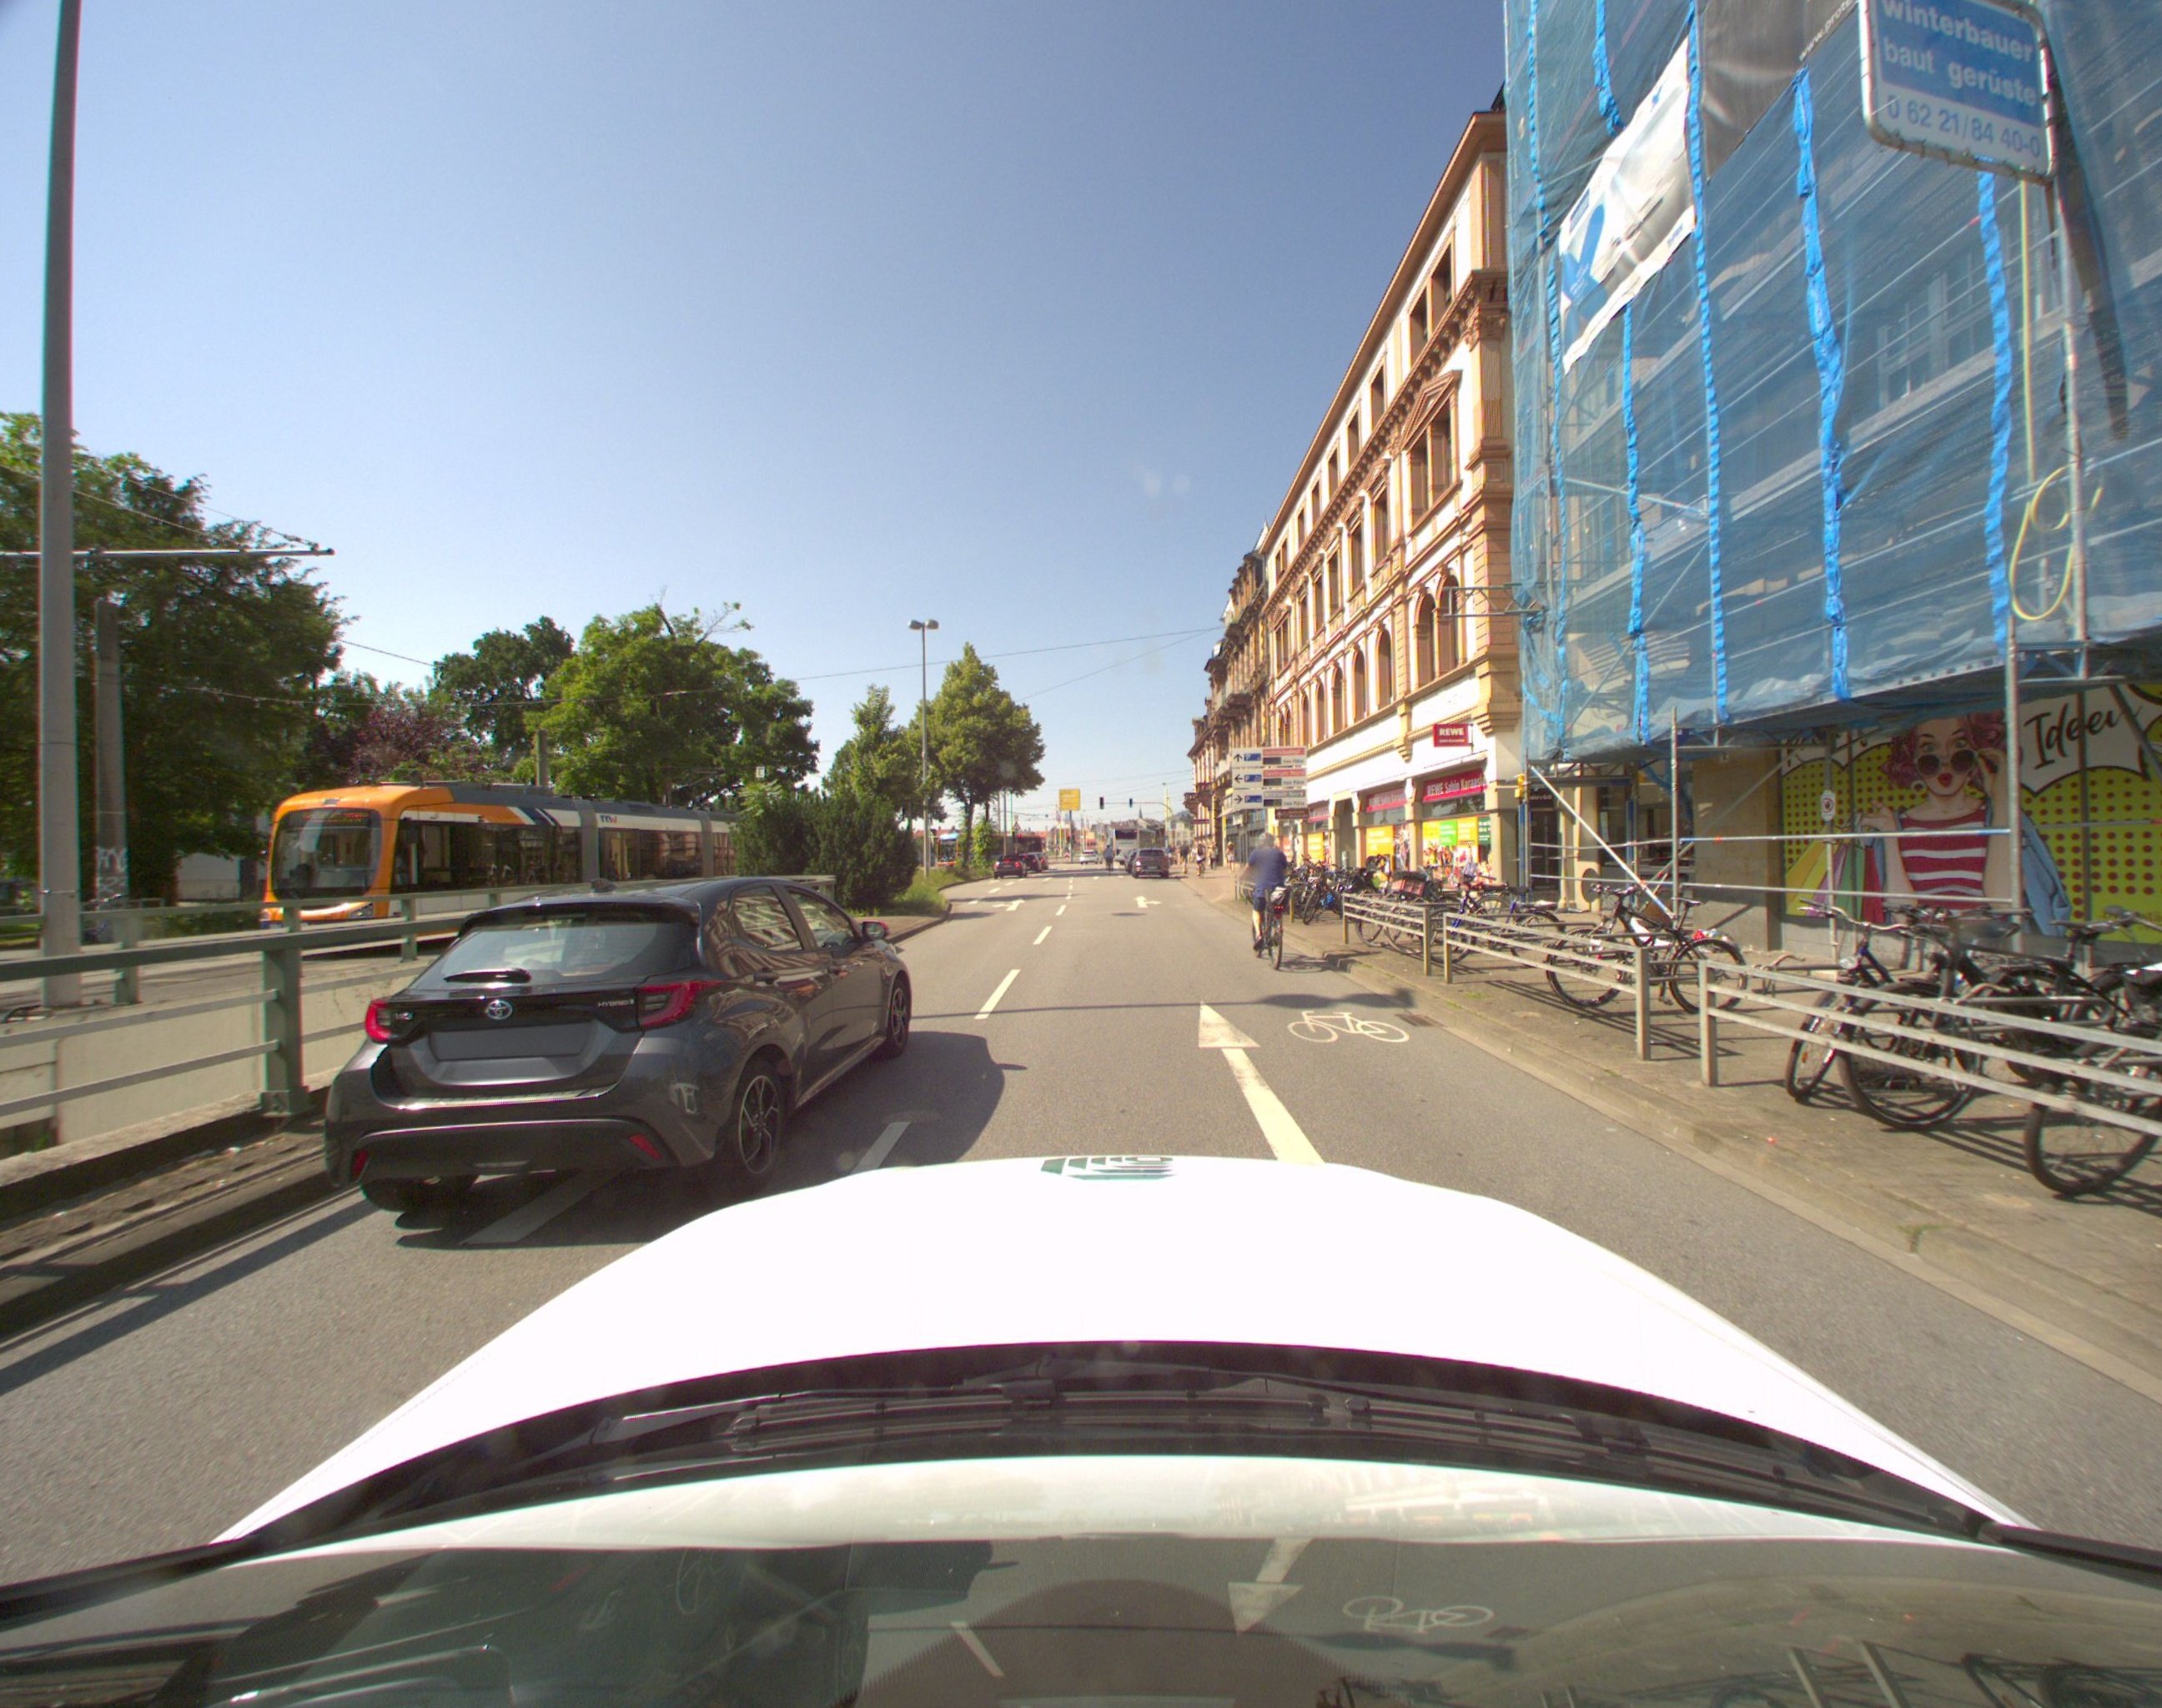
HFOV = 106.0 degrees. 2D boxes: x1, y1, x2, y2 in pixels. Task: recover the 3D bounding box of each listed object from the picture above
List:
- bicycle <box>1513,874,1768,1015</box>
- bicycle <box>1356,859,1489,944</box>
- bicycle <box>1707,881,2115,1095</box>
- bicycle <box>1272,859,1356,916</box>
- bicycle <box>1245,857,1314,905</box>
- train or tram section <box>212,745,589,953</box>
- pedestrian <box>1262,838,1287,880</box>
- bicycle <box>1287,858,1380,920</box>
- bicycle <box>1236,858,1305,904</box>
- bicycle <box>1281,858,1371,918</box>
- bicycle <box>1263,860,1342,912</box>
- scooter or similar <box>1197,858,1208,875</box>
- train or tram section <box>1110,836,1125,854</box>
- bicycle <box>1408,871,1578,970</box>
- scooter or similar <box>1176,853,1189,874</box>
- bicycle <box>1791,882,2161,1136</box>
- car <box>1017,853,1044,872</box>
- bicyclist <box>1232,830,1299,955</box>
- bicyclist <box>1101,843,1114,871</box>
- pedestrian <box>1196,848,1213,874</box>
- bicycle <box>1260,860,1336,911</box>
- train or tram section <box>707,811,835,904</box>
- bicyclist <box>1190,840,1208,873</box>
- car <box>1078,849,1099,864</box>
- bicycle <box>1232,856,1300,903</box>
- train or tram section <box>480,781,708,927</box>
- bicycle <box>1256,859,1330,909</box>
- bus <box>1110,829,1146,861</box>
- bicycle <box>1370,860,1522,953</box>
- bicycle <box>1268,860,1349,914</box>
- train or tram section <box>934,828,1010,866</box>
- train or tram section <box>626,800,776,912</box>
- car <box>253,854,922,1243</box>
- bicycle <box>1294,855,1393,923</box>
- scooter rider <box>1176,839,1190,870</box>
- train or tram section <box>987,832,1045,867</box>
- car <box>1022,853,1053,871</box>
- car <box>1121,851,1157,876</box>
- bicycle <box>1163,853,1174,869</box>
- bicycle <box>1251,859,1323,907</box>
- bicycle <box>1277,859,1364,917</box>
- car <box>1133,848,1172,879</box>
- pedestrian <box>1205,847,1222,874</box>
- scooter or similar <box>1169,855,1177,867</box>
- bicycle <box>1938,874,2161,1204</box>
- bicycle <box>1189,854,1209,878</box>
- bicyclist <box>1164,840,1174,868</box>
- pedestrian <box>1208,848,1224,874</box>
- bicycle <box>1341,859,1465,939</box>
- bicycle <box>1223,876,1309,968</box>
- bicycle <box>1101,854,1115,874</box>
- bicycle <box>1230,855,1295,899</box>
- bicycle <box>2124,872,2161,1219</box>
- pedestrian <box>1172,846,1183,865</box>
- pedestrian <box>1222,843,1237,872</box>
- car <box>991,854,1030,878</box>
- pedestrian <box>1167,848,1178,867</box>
[{"bbox_3d":[4.693,0.739,6.909,1.732,1.109,0.609,1,-1,2],"label":"bicycle"},{"bbox_3d":[4.953,0.680,11.878,1.686,1.179,0.609,1,-1,2],"label":"bicycle"},{"bbox_3d":[4.668,0.723,4.665,1.686,1.097,0.609,1,-1,2],"label":"bicycle"},{"bbox_3d":[5.043,0.719,17.687,1.686,1.179,0.463,1,-1,2],"label":"bicycle"},{"bbox_3d":[5.107,0.687,20.995,1.687,1.179,0.470,1,-1,2],"label":"bicycle"},{"bbox_3d":[-13.784,-0.052,17.349,2.604,3.581,6.105,2,-1,2],"label":"train or tram section"},{"bbox_3d":[8.035,0.220,33.778,0.753,1.656,0.837,-4,-2,1],"label":"pedestrian"},{"bbox_3d":[4.976,0.687,16.108,1.686,1.179,0.498,1,-1,2],"label":"bicycle"},{"bbox_3d":[5.011,0.701,21.595,1.686,1.178,0.609,-1,0,2],"label":"bicycle"},{"bbox_3d":[4.993,0.693,16.660,1.686,1.179,0.491,1,-1,2],"label":"bicycle"},{"bbox_3d":[5.108,0.731,18.800,1.686,1.179,0.514,1,-1,2],"label":"bicycle"},{"bbox_3d":[7.746,0.785,51.880,0.598,1.047,0.799,2,-1,0],"label":"scooter or similar"},{"bbox_3d":[7.861,-1.872,172.676,2.810,3.777,8.235,2,0,4],"label":"train or tram section"},{"bbox_3d":[4.797,0.763,9.548,1.686,1.087,0.609,1,-1,2],"label":"bicycle"},{"bbox_3d":[5.805,0.566,46.593,0.685,1.167,1.466,2,-1,5],"label":"scooter or similar"},{"bbox_3d":[4.625,0.715,3.997,1.686,1.097,0.609,-2,-1,2],"label":"bicycle"},{"bbox_3d":[-3.608,0.610,58.821,1.445,1.301,4.003,2,-1,3],"label":"car"},{"bbox_3d":[2.484,0.504,11.061,0.686,1.616,0.918,2,-1,1],"label":"bicyclist"},{"bbox_3d":[1.561,0.184,47.344,0.686,1.577,1.049,2,-1,0],"label":"bicyclist"},{"bbox_3d":[7.773,0.446,51.301,0.859,1.640,0.875,2,-1,0],"label":"pedestrian"},{"bbox_3d":[5.147,0.735,19.366,1.686,1.179,0.459,1,-1,2],"label":"bicycle"},{"bbox_3d":[-13.191,0.173,35.345,2.603,3.581,6.900,2,-1,2],"label":"train or tram section"},{"bbox_3d":[5.760,0.120,39.775,0.686,1.577,1.050,2,-1,1],"label":"bicyclist"},{"bbox_3d":[0.802,0.280,83.779,1.850,1.507,4.004,2,-1,4],"label":"car"},{"bbox_3d":[5.048,0.694,22.249,1.686,1.178,0.609,-3,0,2],"label":"bicycle"},{"bbox_3d":[-13.593,0.024,23.460,2.603,3.581,6.105,2,-1,2],"label":"train or tram section"},{"bbox_3d":[5.172,0.734,19.930,1.686,1.179,0.460,1,-1,2],"label":"bicycle"},{"bbox_3d":[4.693,-0.812,79.825,2.953,2.776,8.657,2,-1,7],"label":"bus"},{"bbox_3d":[4.870,0.689,10.938,1.764,1.179,0.609,1,-1,2],"label":"bicycle"},{"bbox_3d":[5.081,0.732,18.208,1.686,1.179,0.457,1,-1,2],"label":"bicycle"},{"bbox_3d":[-10.983,-0.596,83.642,2.797,3.581,10.087,1,-1,24],"label":"train or tram section"},{"bbox_3d":[-13.389,0.097,29.215,2.603,3.581,5.359,2,-1,2],"label":"train or tram section"},{"bbox_3d":[-2.328,0.785,5.193,1.771,1.475,4.000,-1,-1,1],"label":"car"},{"bbox_3d":[4.959,0.654,15.470,1.686,1.241,0.609,1,-1,2],"label":"bicycle"},{"bbox_3d":[5.839,0.023,46.641,0.685,1.729,0.779,2,-1,5],"label":"scooter rider"},{"bbox_3d":[-7.232,-0.441,92.005,2.797,3.581,8.271,1,-1,24],"label":"train or tram section"},{"bbox_3d":[-3.501,0.659,66.122,2.029,1.332,4.003,2,-1,3],"label":"car"},{"bbox_3d":[3.695,0.604,52.592,1.987,1.493,3.998,2,-1,-1],"label":"car"},{"bbox_3d":[6.364,0.528,59.044,0.730,1.093,1.900,2,-1,5],"label":"bicycle"},{"bbox_3d":[5.173,0.724,20.461,1.687,1.179,0.470,1,-1,2],"label":"bicycle"},{"bbox_3d":[5.033,0.709,17.166,1.686,1.179,0.452,1,-1,2],"label":"bicycle"},{"bbox_3d":[3.671,0.500,42.589,1.866,1.493,4.003,2,-1,3],"label":"car"},{"bbox_3d":[8.120,0.397,49.891,0.859,1.640,0.875,-1,0,0],"label":"pedestrian"},{"bbox_3d":[7.842,0.614,69.679,0.598,1.047,0.799,2,-1,0],"label":"scooter or similar"},{"bbox_3d":[4.574,0.685,3.224,1.686,1.179,0.609,1,-1,2],"label":"bicycle"},{"bbox_3d":[5.744,0.591,39.730,0.731,1.093,1.898,2,-1,2],"label":"bicycle"},{"bbox_3d":[6.367,-0.013,58.940,0.685,1.962,0.779,2,-1,5],"label":"bicyclist"},{"bbox_3d":[8.666,0.432,52.289,0.859,1.640,0.875,2,-1,0],"label":"pedestrian"},{"bbox_3d":[4.962,0.684,12.617,1.686,1.179,0.609,1,-1,2],"label":"bicycle"},{"bbox_3d":[2.472,0.876,11.106,0.731,1.093,1.911,2,-1,1],"label":"bicycle"},{"bbox_3d":[1.547,0.580,47.406,0.731,1.093,1.898,2,-1,1],"label":"bicycle"},{"bbox_3d":[5.091,0.638,22.880,1.686,1.178,0.609,-1,0,2],"label":"bicycle"},{"bbox_3d":[4.512,0.661,2.542,1.686,1.179,0.609,1,-1,2],"label":"bicycle"},{"bbox_3d":[8.492,0.108,71.900,0.859,1.640,0.875,-2,0,0],"label":"pedestrian"},{"bbox_3d":[8.316,0.207,45.622,0.652,1.621,0.815,-1,0,0],"label":"pedestrian"},{"bbox_3d":[-4.232,0.735,49.533,1.808,1.332,4.003,2,-1,3],"label":"car"},{"bbox_3d":[7.898,0.326,70.392,0.859,1.640,0.875,2,-1,0],"label":"pedestrian"}]
